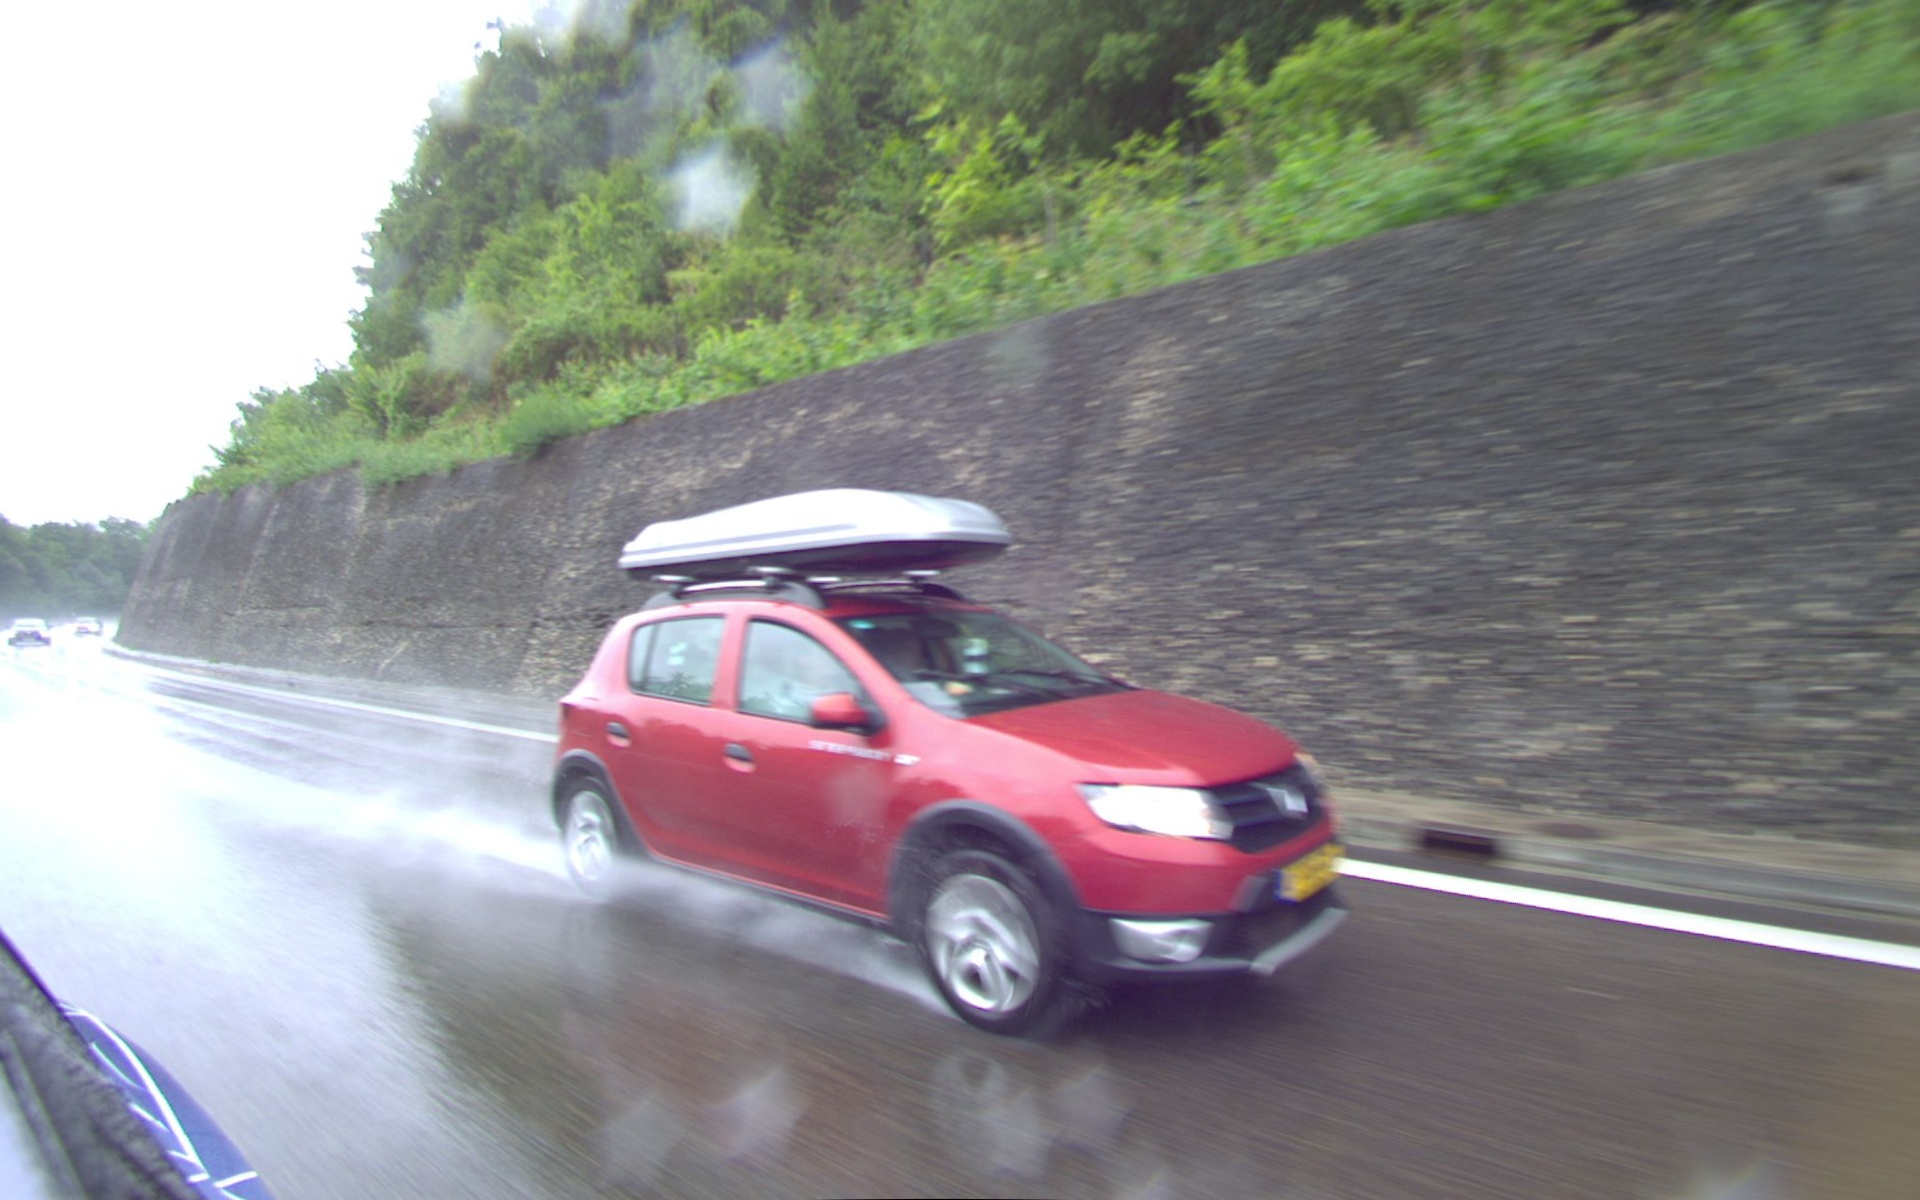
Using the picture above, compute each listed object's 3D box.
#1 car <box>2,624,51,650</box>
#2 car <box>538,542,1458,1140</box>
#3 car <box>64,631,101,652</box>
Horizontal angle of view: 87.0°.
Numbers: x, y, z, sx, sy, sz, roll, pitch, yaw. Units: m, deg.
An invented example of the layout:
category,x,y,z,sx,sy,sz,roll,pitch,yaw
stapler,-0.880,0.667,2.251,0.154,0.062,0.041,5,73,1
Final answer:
category,x,y,z,sx,sy,sz,roll,pitch,yaw
car,-52.474,2.045,56.937,1.800,1.393,4.006,0,-1,-40
car,-0.112,0.673,4.753,4.000,1.564,1.972,-2,-1,43
car,-68.428,3.225,78.935,1.799,1.393,4.009,-3,1,-36
